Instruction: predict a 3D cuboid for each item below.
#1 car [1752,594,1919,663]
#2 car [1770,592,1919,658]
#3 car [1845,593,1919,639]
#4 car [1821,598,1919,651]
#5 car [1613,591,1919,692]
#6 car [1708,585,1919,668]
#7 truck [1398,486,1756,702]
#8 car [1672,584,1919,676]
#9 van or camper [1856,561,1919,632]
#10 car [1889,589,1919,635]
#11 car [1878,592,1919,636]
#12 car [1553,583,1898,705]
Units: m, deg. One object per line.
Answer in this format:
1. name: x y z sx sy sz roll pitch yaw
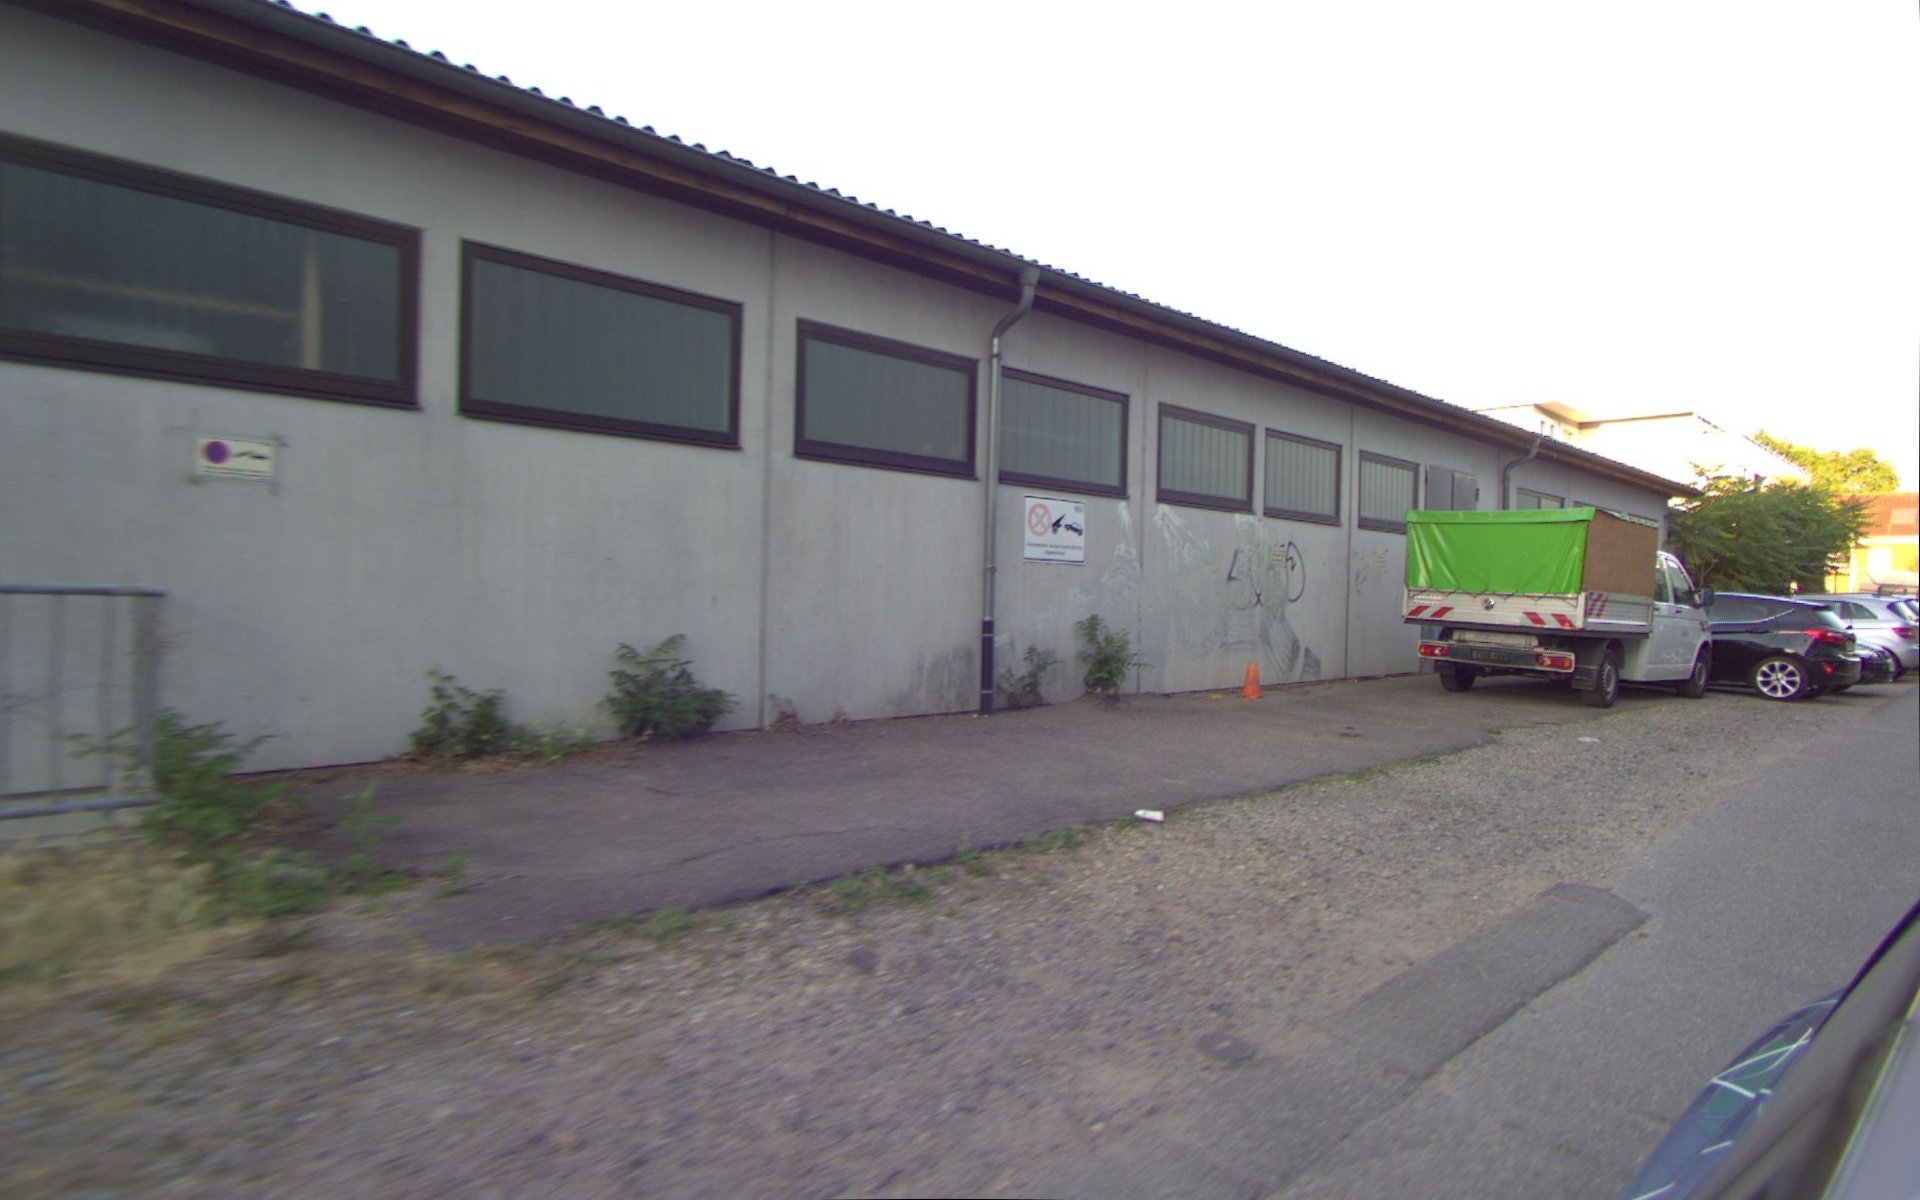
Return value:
1. car: 20.769 0.599 23.038 1.793 1.463 3.994 0 1 -37
2. car: 22.643 0.571 24.658 1.855 1.522 4.215 0 1 -36
3. car: 33.101 0.589 34.834 1.681 1.497 3.714 1 2 -39
4. car: 26.459 0.673 27.595 1.788 1.384 4.217 1 0 -34
5. car: 13.172 0.582 16.618 1.812 1.463 3.767 0 0 -39
6. car: 18.632 0.525 21.630 1.795 1.640 3.990 1 0 -41
7. truck: 8.100 -0.014 13.010 5.607 2.228 2.103 2 0 -39
8. car: 16.644 0.521 19.894 1.904 1.630 3.992 1 0 -39
9. van or camper: 40.948 -0.096 41.575 2.442 2.899 5.795 0 2 -39
10. car: 39.103 0.530 39.167 1.929 1.762 4.258 1 2 -33
11. car: 36.680 0.592 37.320 1.682 1.583 4.011 1 2 -42
12. car: 11.289 0.541 15.147 1.856 1.555 3.770 -1 1 -37
